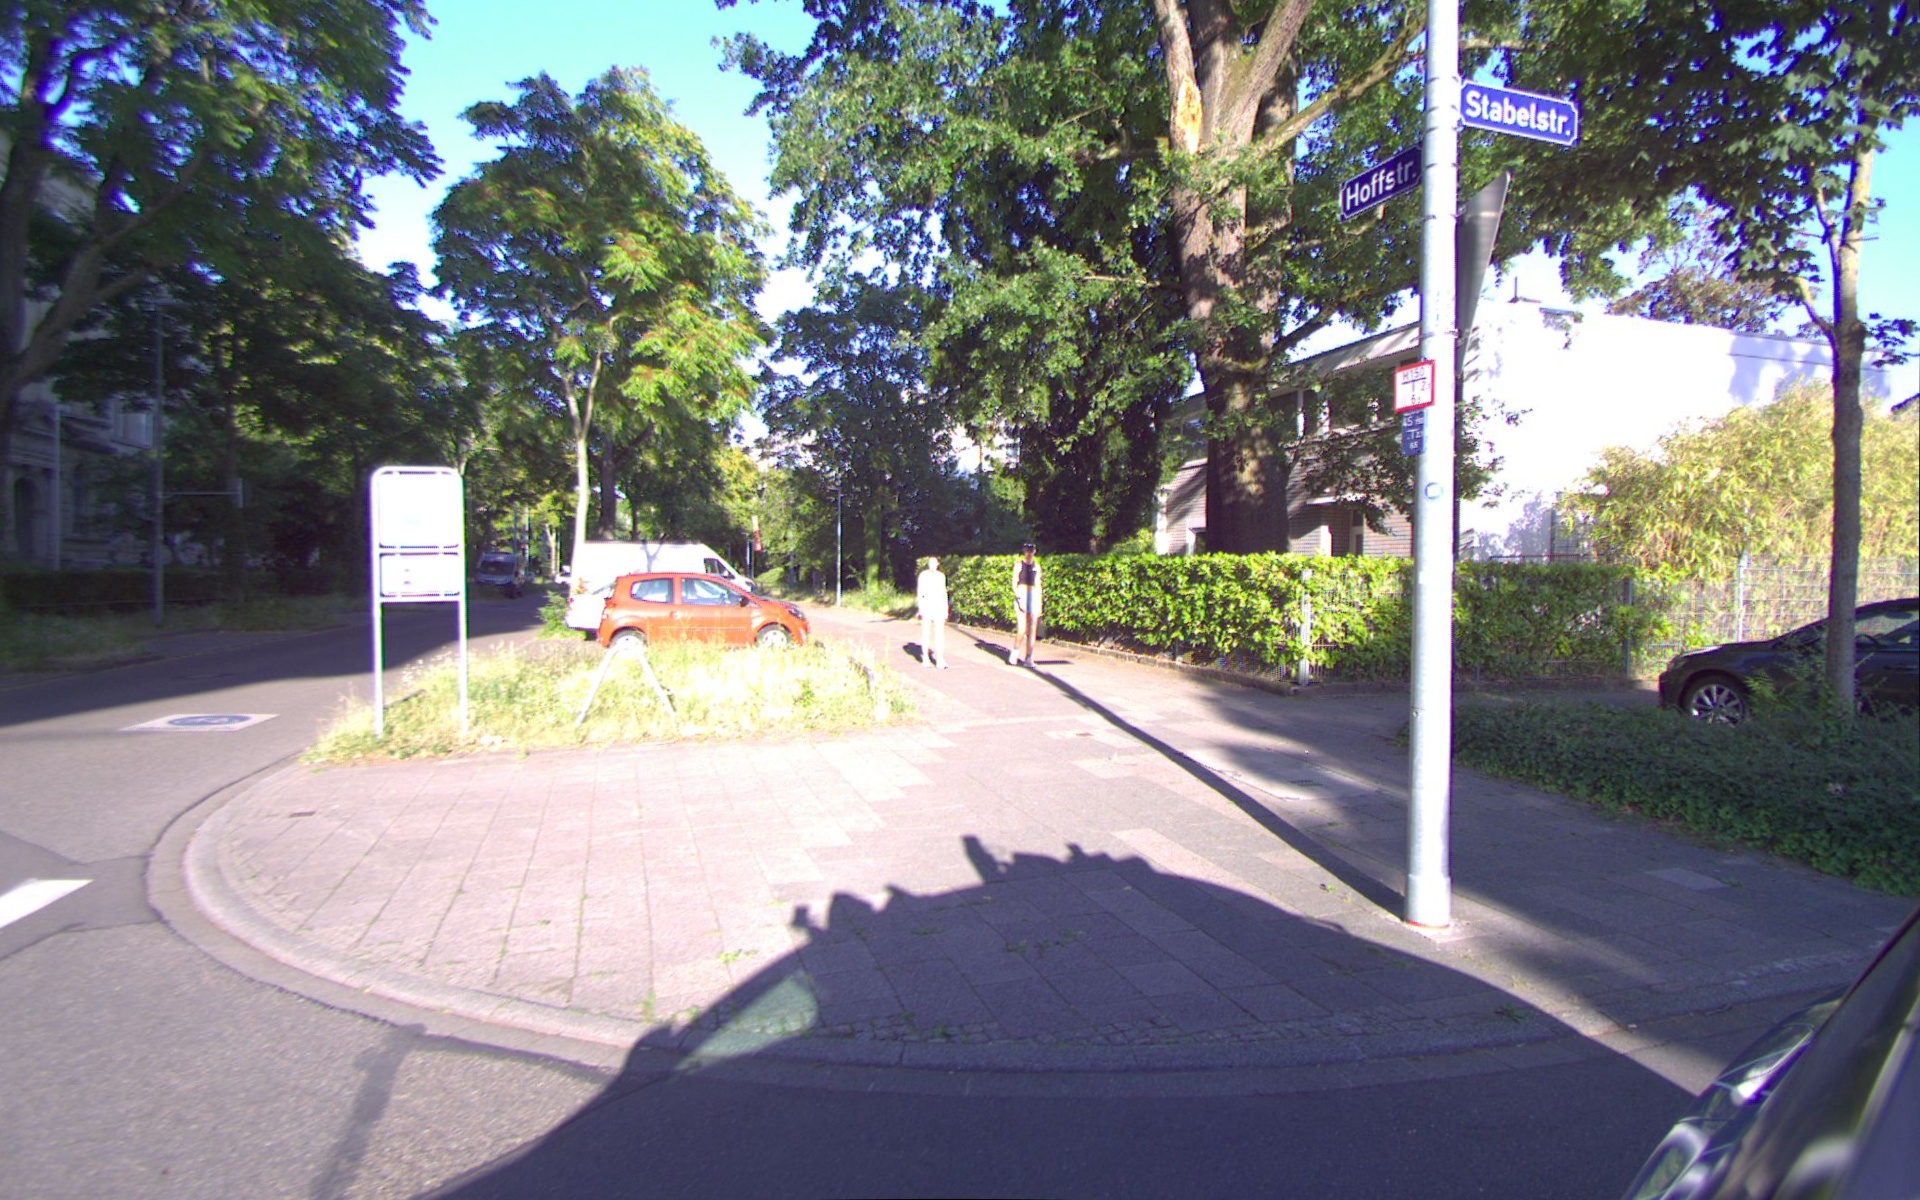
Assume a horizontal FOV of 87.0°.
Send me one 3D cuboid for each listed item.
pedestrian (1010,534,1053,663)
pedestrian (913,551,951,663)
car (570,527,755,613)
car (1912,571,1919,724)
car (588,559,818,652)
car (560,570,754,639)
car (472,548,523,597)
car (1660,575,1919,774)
[{"bbox_3d":[1.022,-0.026,14.473,0.426,1.797,0.667,0,1,-13],"label":"pedestrian"},{"bbox_3d":[-0.409,0.092,14.710,0.426,1.601,0.667,0,1,-13],"label":"pedestrian"},{"bbox_3d":[-9.979,-0.976,34.065,5.786,2.734,2.225,0,1,-19],"label":"car"},{"bbox_3d":[10.762,0.551,8.688,1.603,1.509,3.364,0,3,-20],"label":"car"},{"bbox_3d":[-4.368,0.062,17.164,3.602,1.438,1.722,0,1,-19],"label":"car"},{"bbox_3d":[-6.696,0.069,22.448,3.974,1.438,1.722,0,1,-19],"label":"car"},{"bbox_3d":[-25.953,-1.518,56.939,1.912,2.631,4.175,0,1,-14],"label":"car"},{"bbox_3d":[8.213,0.587,8.180,1.611,1.535,4.009,0,1,-19],"label":"car"}]
